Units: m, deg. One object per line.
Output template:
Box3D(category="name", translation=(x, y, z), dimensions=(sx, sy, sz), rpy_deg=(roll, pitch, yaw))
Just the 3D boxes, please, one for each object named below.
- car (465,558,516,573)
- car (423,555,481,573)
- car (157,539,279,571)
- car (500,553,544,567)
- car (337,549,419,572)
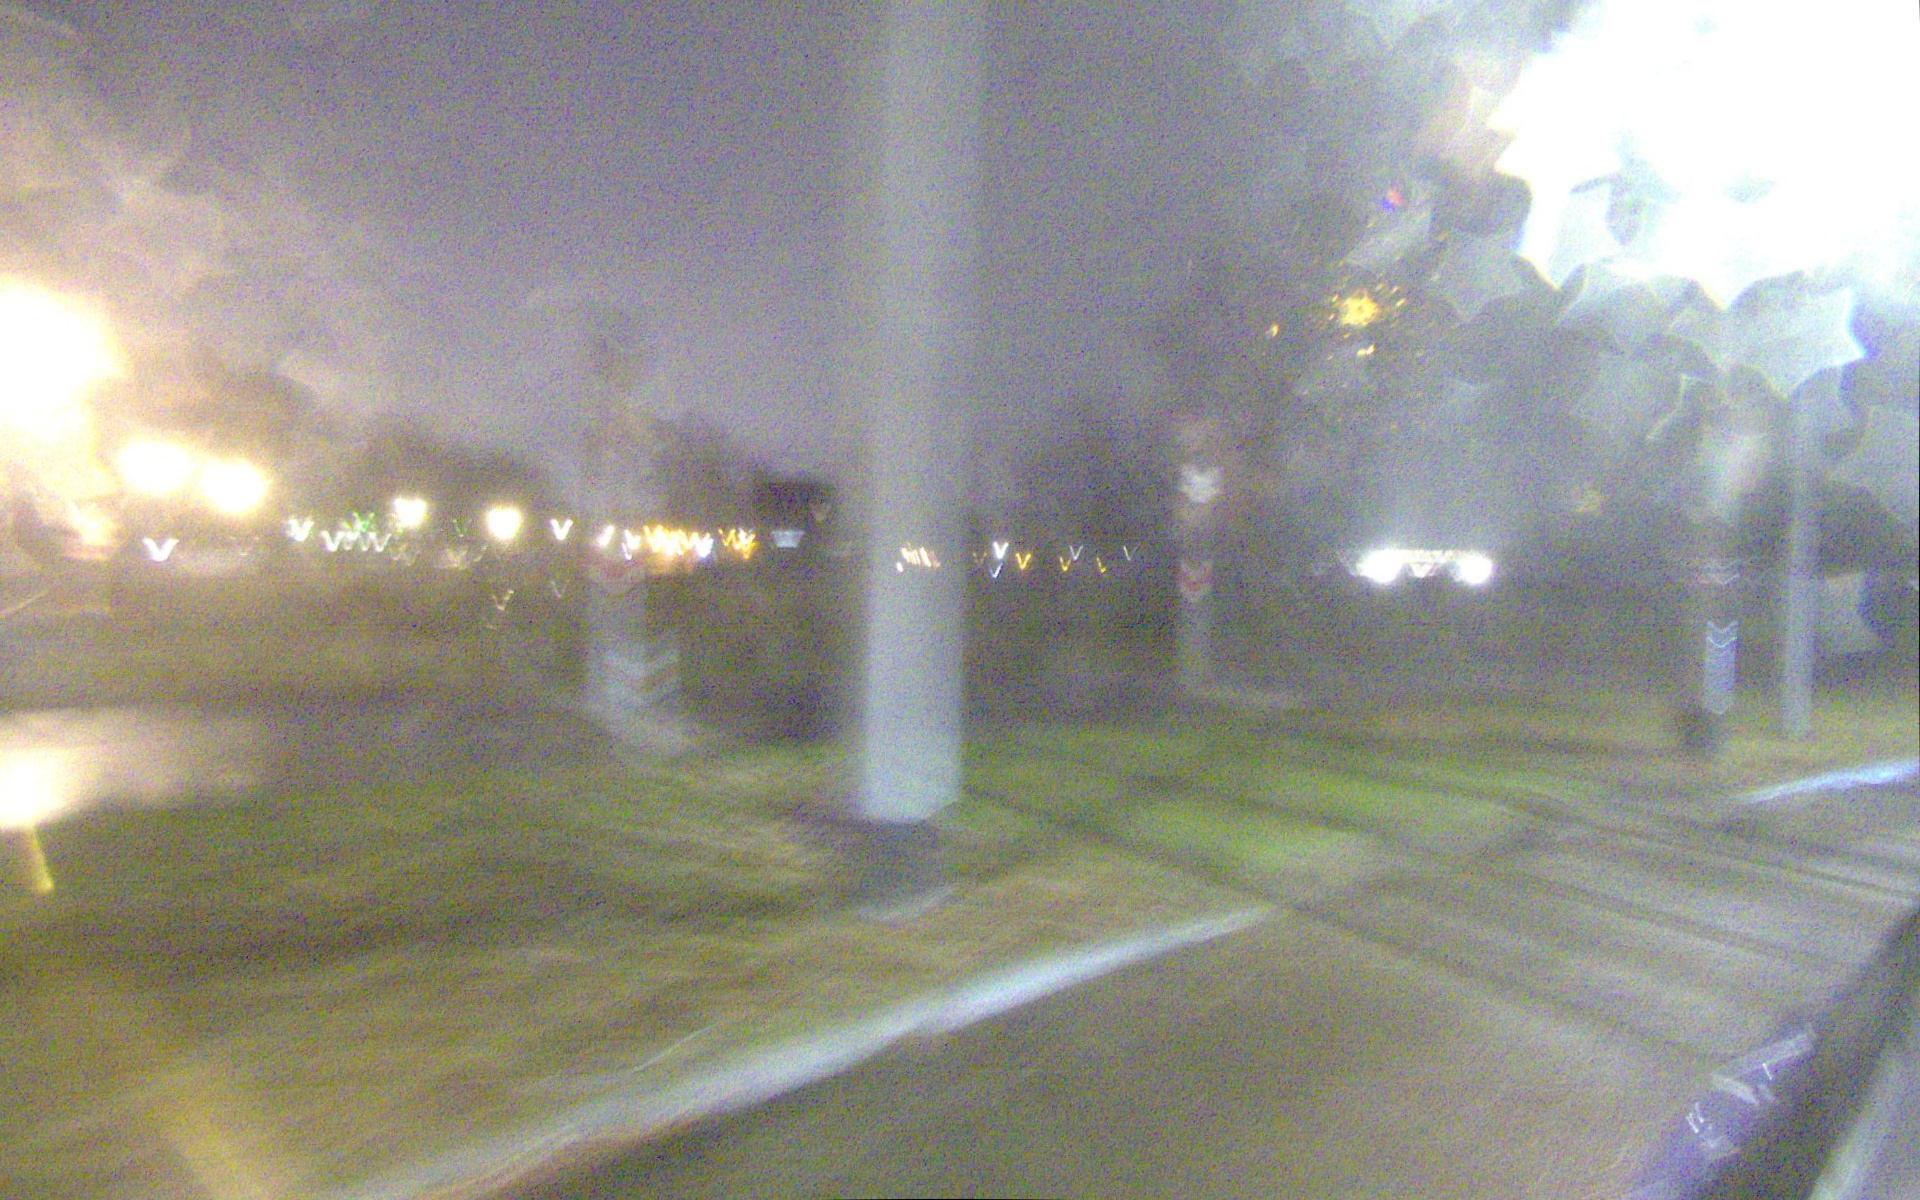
Box3D(category="car", translation=(-44.705, -3.288, 96.424), dimensions=(4.064, 1.392, 1.725), rpy_deg=(1, 1, -9))
Box3D(category="car", translation=(-43.188, -3.067, 86.166), dimensions=(4.064, 1.392, 1.725), rpy_deg=(1, 1, -9))
Box3D(category="car", translation=(-38.717, -2.331, 52.924), dimensions=(4.892, 1.555, 1.725), rpy_deg=(1, 1, -9))
Box3D(category="car", translation=(-47.167, -4.284, 108.986), dimensions=(4.064, 1.392, 1.725), rpy_deg=(1, 1, -9))
Box3D(category="car", translation=(-42.733, -2.908, 74.368), dimensions=(4.892, 1.555, 1.725), rpy_deg=(1, 1, -9))
